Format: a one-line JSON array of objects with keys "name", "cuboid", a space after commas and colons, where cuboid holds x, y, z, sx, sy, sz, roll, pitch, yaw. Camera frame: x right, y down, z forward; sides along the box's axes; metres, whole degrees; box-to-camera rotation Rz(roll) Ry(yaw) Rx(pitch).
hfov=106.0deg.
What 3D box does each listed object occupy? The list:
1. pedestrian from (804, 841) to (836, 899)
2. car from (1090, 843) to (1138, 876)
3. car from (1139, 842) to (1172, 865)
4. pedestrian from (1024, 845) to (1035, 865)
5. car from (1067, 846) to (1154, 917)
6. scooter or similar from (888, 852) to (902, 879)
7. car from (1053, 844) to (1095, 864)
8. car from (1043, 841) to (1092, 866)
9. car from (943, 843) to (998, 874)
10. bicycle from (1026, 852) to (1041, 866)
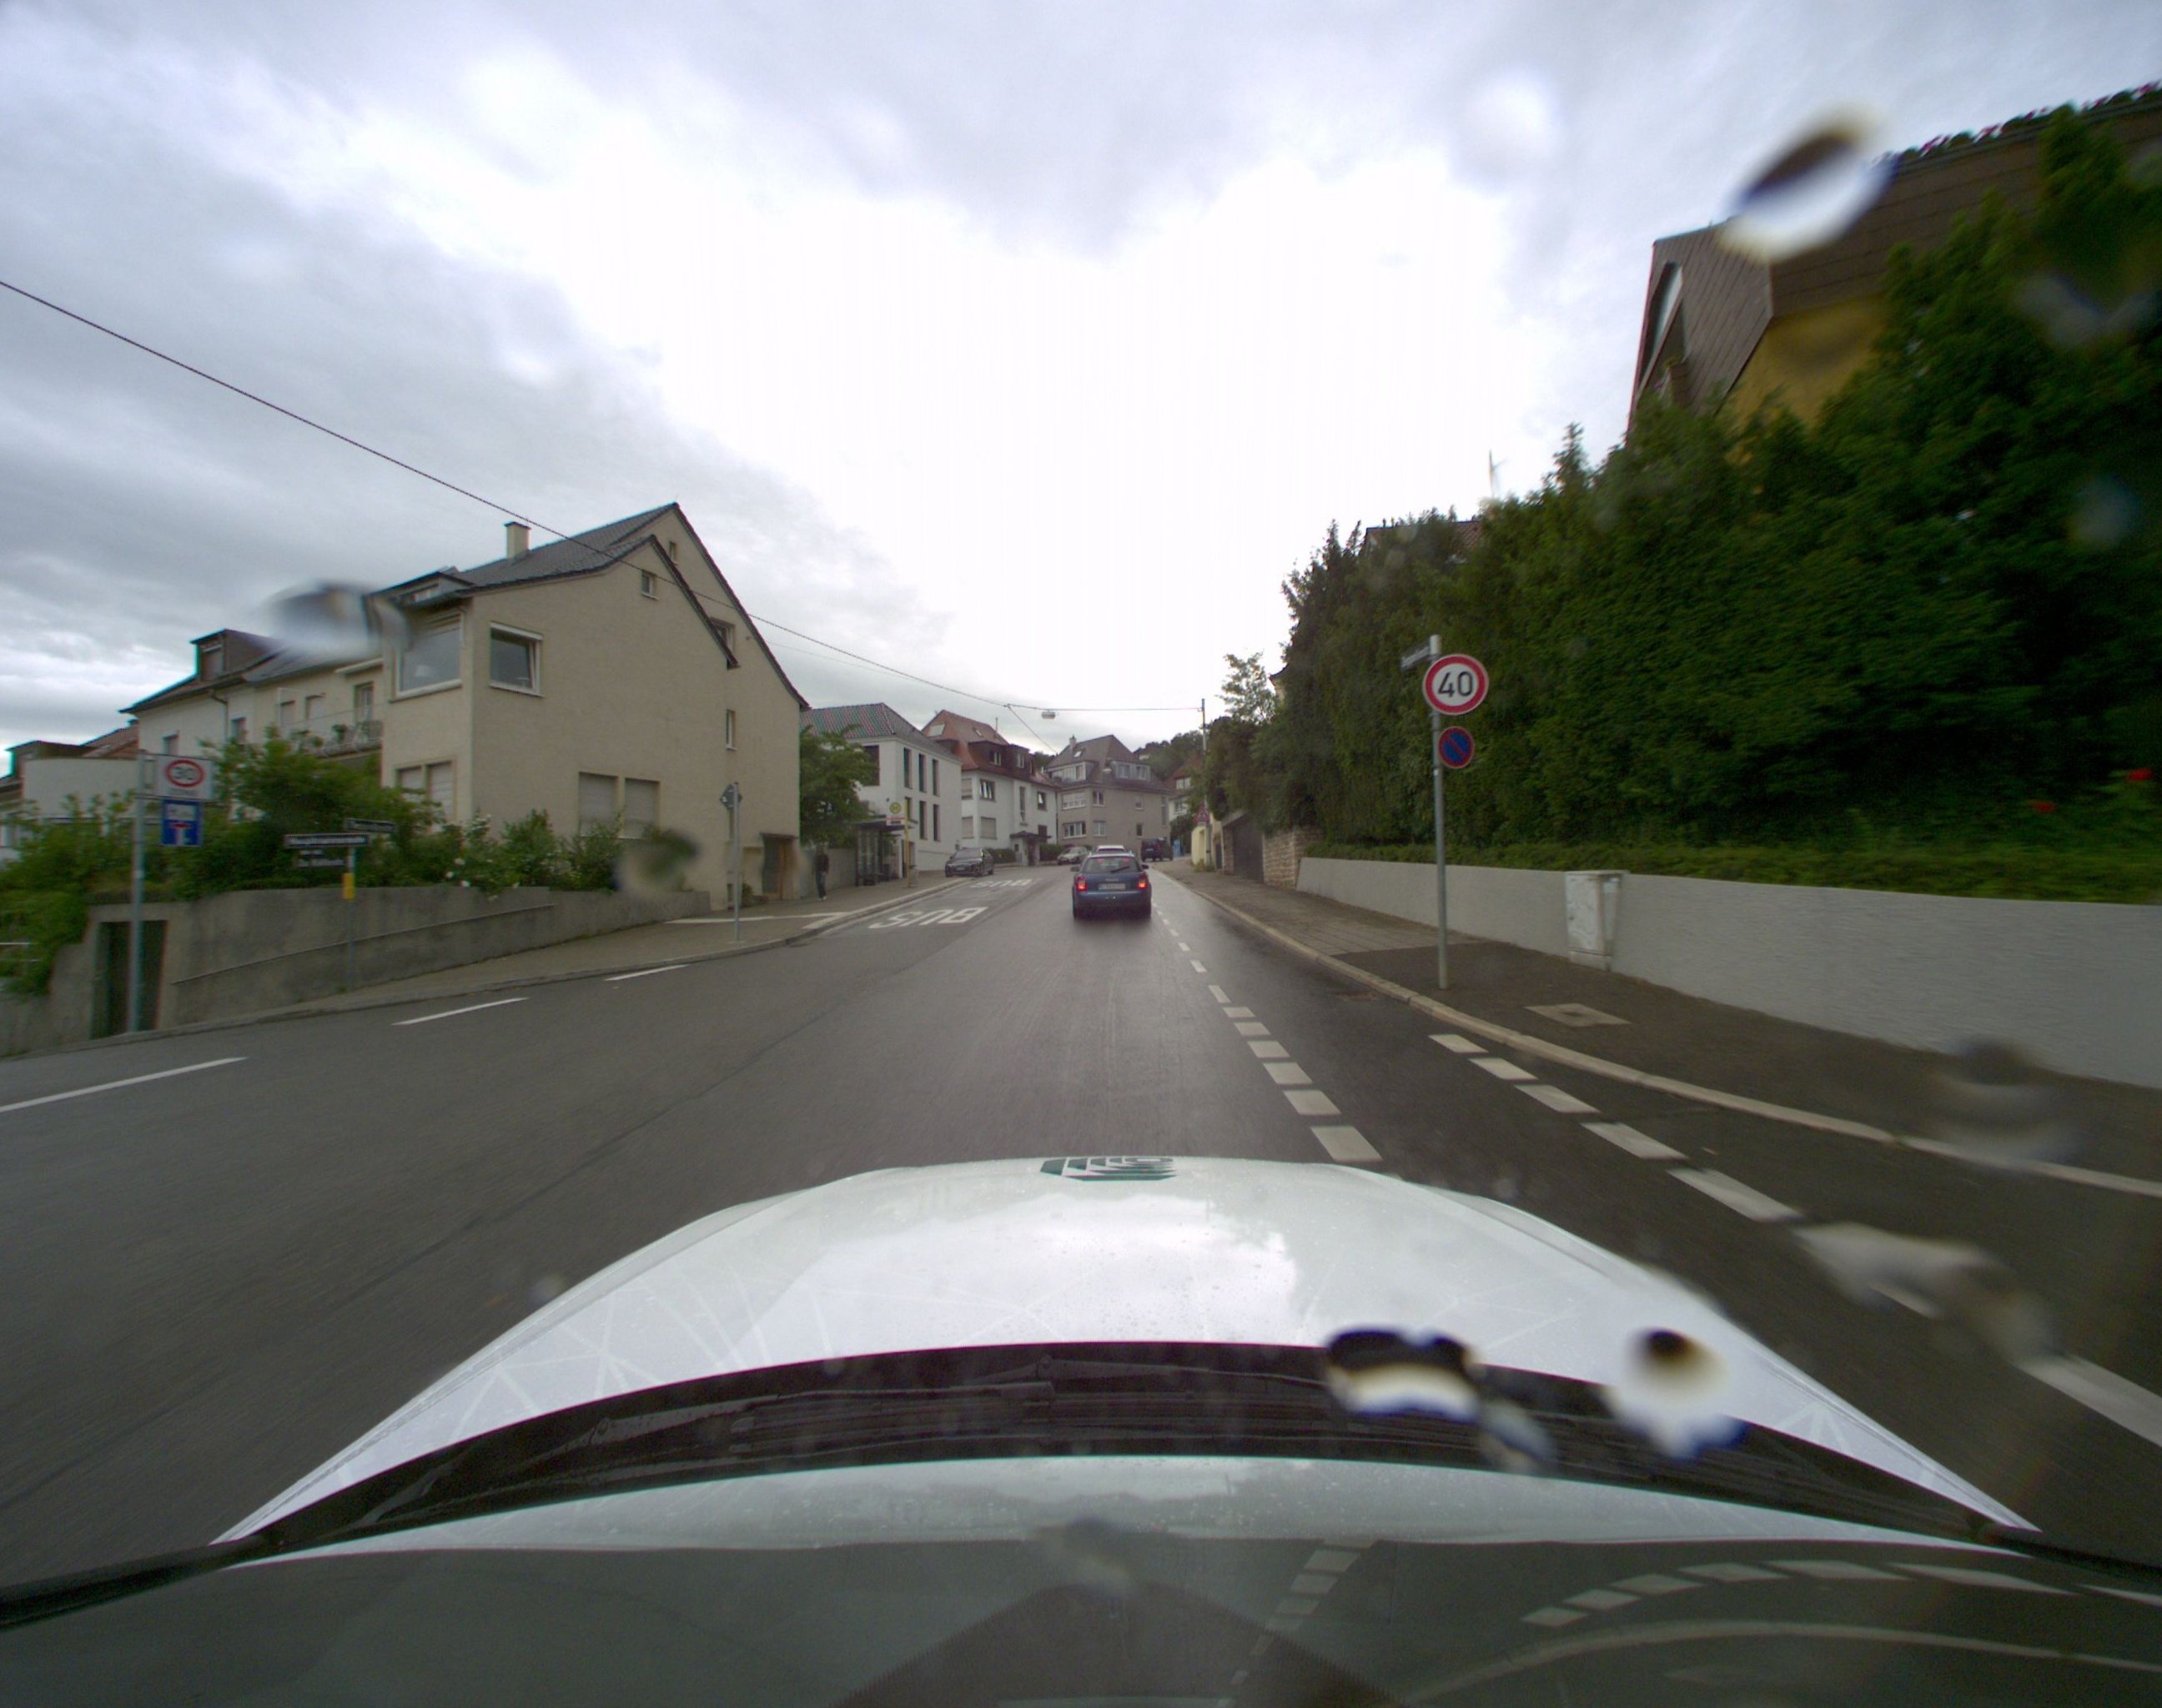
[{"name": "pedestrian", "cuboid": [-8.577, 0.517, 26.780, 0.783, 1.857, 0.728, -1, 0, 1]}, {"name": "car", "cuboid": [1.375, 0.257, 35.476, 1.807, 1.361, 3.996, 0, -1, -2]}, {"name": "car", "cuboid": [5.829, -0.025, 63.494, 1.914, 1.706, 4.015, 2, 0, 14]}, {"name": "pedestrian", "cuboid": [-4.193, 0.068, 66.407, 0.488, 1.577, 0.952, -2, 0, 20]}, {"name": "car", "cuboid": [0.700, 0.556, 19.002, 1.804, 1.439, 4.084, 0, 1, 2]}, {"name": "scooter or similar", "cuboid": [-8.763, 0.533, 38.450, 0.336, 1.220, 1.123, -1, 0, 3]}, {"name": "car", "cuboid": [-0.571, -0.016, 68.495, 1.819, 1.425, 4.254, -4, 0, 24]}, {"name": "car", "cuboid": [-1.290, -0.030, 77.468, 3.949, 1.823, 2.013, -8, -2, 30]}, {"name": "car", "cuboid": [-5.807, 0.233, 43.361, 1.820, 1.485, 4.998, -3, 0, 5]}, {"name": "bicycle", "cuboid": [-3.833, 0.417, 65.956, 0.452, 1.067, 1.931, -2, 1, 20]}]
